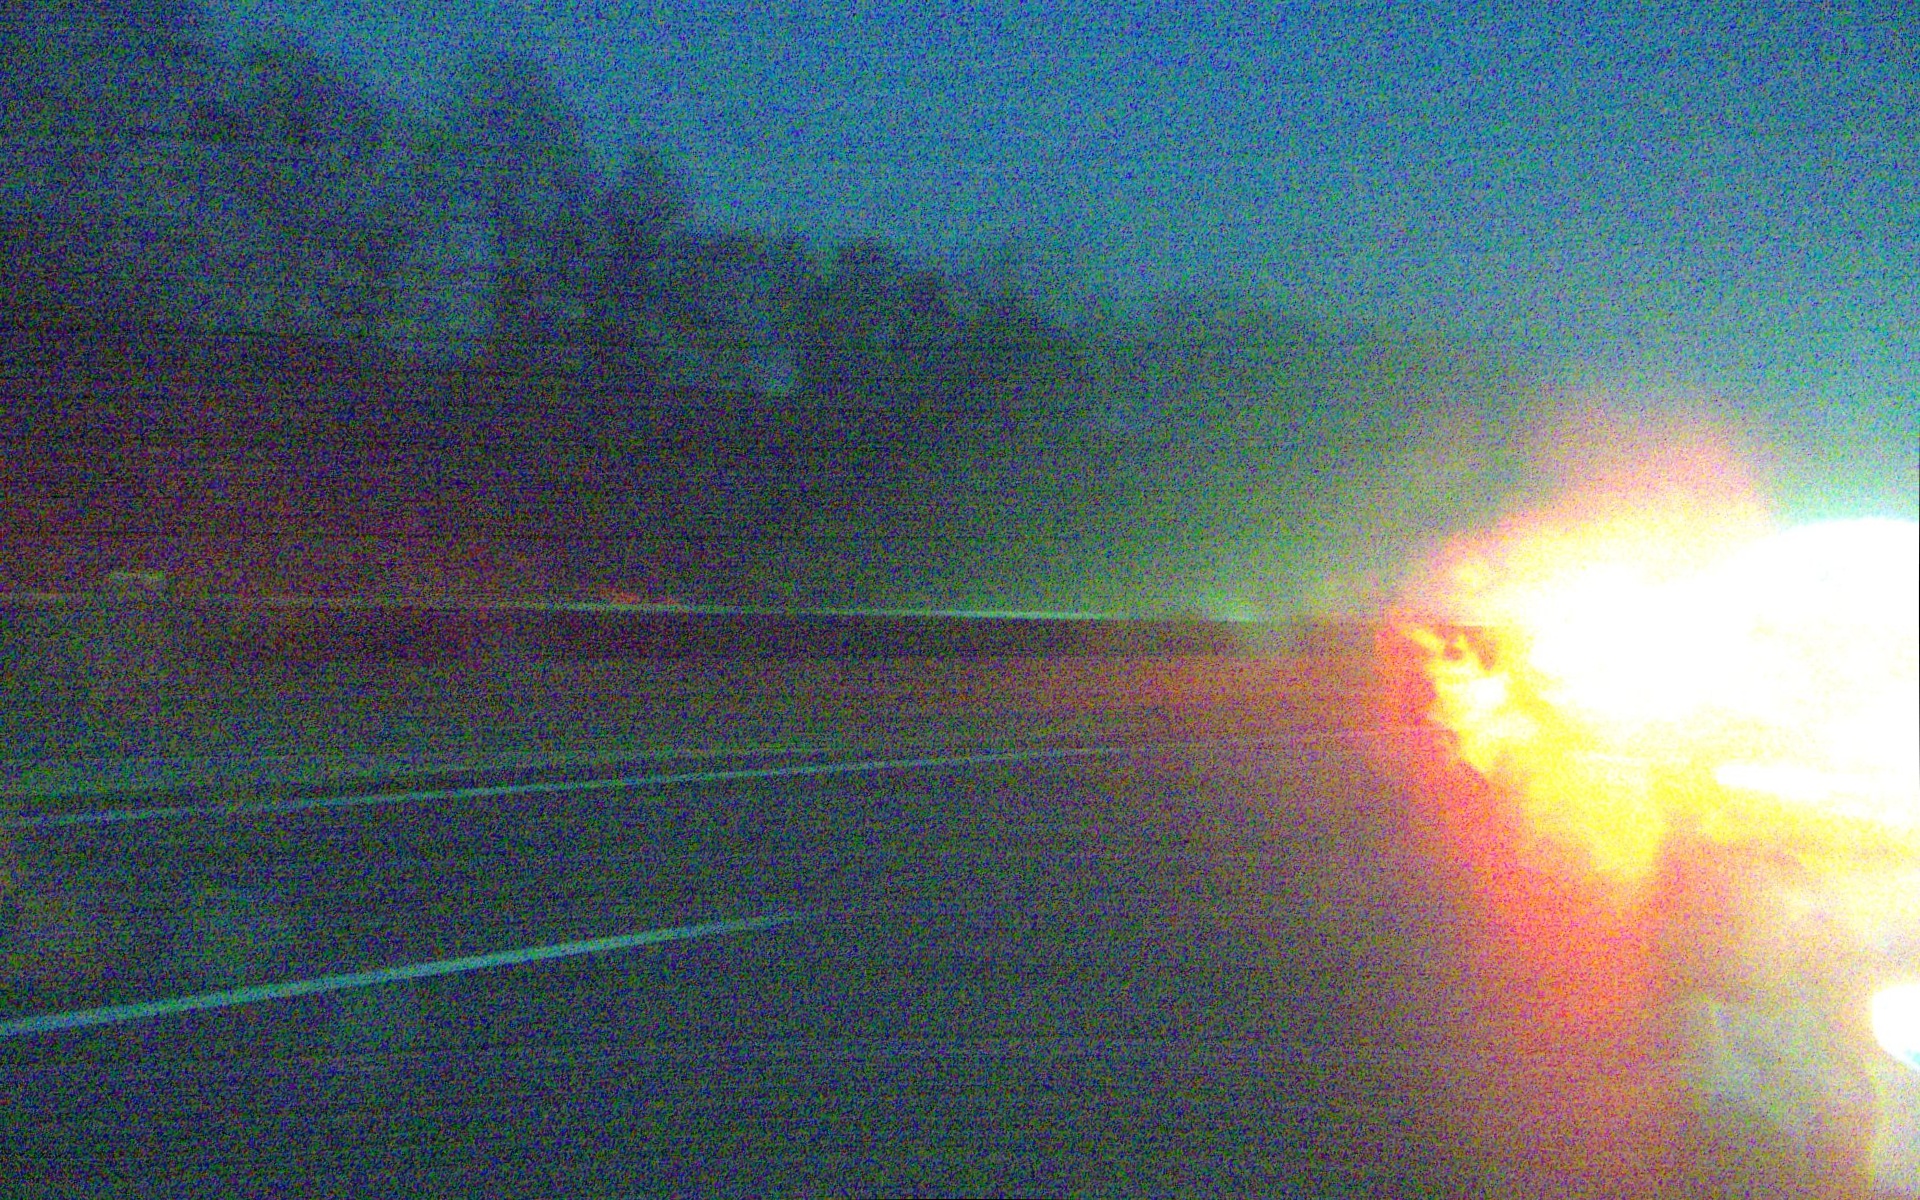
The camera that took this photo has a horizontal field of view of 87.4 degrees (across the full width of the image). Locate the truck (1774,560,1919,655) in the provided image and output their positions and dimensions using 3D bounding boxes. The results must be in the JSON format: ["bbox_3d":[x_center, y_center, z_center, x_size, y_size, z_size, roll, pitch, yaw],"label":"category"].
[{"bbox_3d":[46.971,0.443,53.126,5.774,4.685,4.150,2,0,-29],"label":"truck"}]

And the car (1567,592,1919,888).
[{"bbox_3d":[6.633,0.827,7.388,4.183,1.616,1.907,2,0,-30],"label":"car"}]

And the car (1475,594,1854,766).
[{"bbox_3d":[8.926,0.916,12.641,4.828,1.801,1.985,2,0,-29],"label":"car"}]
